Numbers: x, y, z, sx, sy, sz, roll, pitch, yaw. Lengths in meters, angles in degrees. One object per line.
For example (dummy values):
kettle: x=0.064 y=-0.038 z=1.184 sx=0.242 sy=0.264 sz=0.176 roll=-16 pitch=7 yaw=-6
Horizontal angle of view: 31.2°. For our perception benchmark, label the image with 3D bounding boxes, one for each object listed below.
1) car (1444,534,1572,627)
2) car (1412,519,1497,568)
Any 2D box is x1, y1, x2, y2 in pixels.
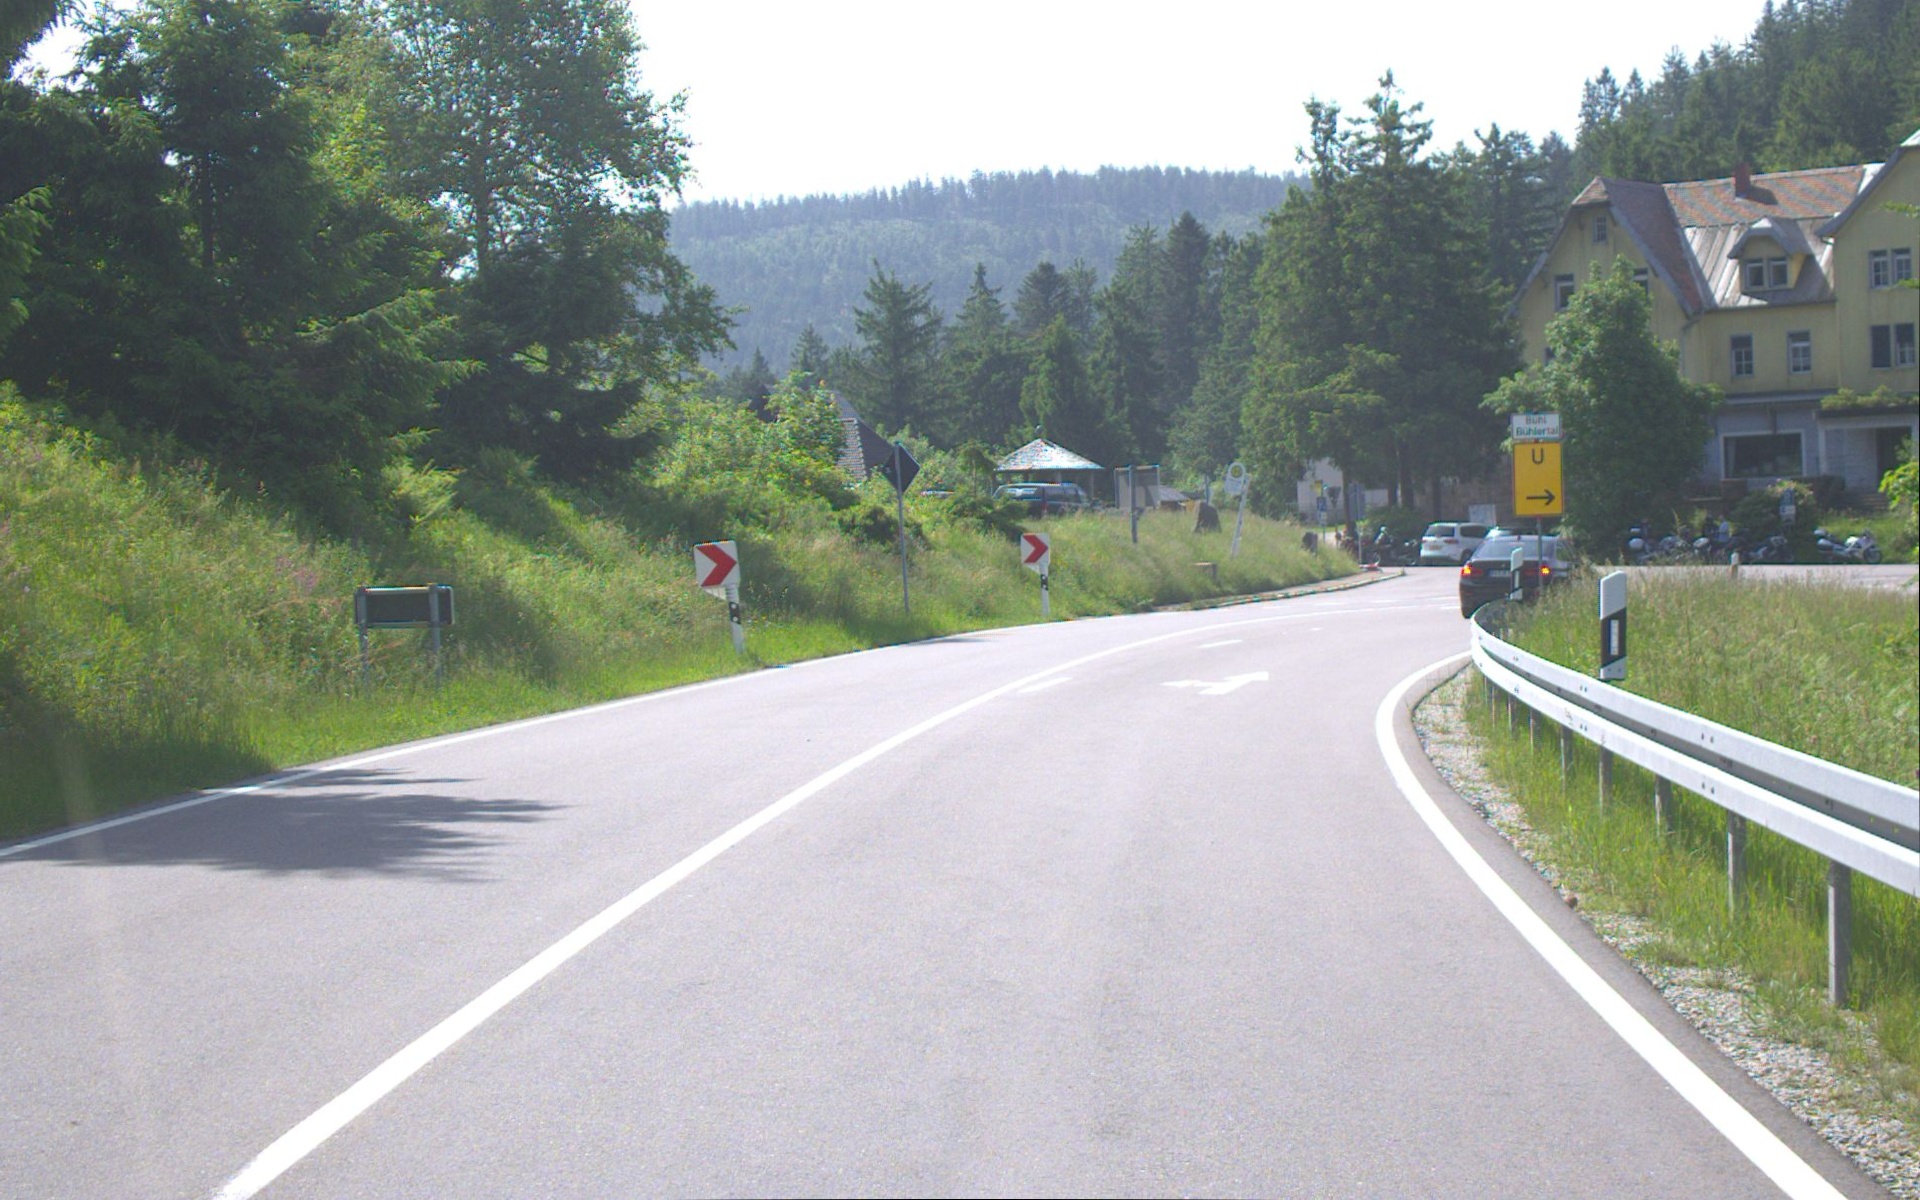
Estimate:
car: x=9.399 y=-0.357 z=58.733 sx=1.777 sy=1.437 sz=3.707 roll=0 pitch=2 yaw=15
car: x=18.301 y=-2.108 z=127.061 sx=1.857 sy=1.665 sz=4.379 roll=-2 pitch=1 yaw=26
